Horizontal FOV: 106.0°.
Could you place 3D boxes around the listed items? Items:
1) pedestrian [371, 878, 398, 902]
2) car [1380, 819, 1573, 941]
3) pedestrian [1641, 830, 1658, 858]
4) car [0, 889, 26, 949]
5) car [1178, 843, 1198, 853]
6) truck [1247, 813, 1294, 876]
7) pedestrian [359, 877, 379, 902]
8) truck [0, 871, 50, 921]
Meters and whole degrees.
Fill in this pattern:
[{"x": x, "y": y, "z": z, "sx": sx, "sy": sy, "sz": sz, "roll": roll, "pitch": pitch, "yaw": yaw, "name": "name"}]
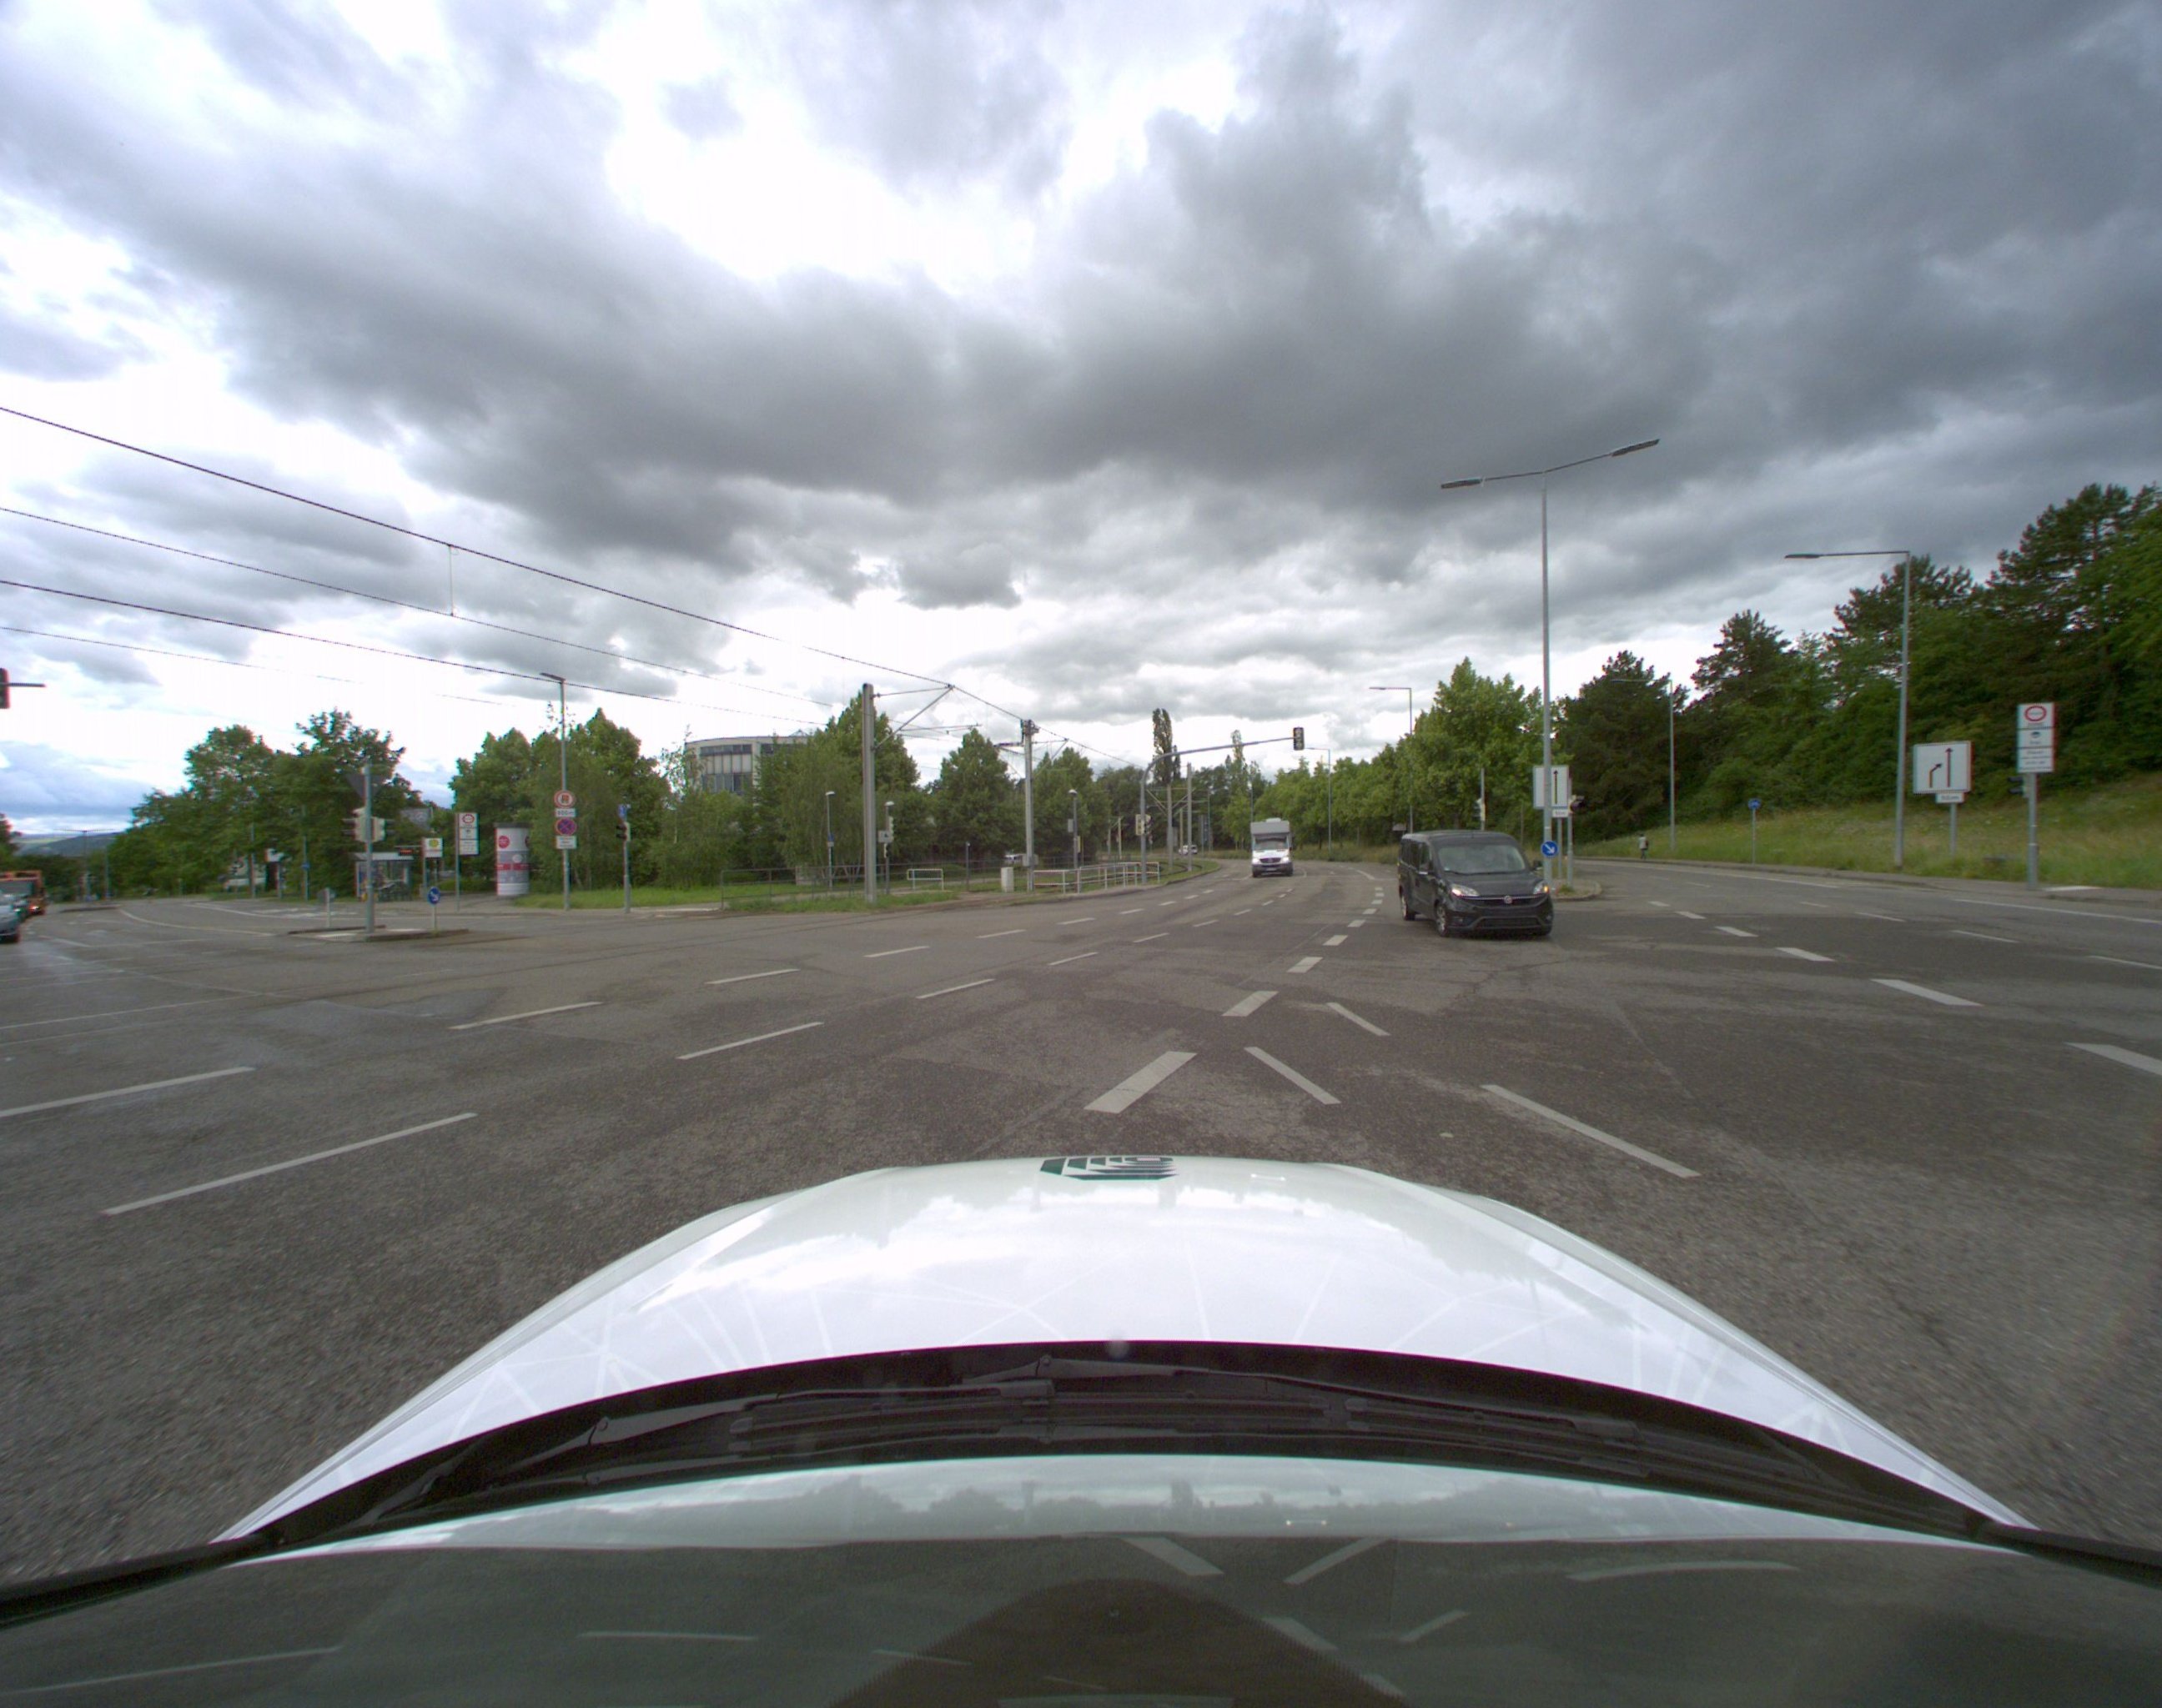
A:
[{"x": -38.489, "y": 1.994, "z": 45.029, "sx": 0.768, "sy": 1.252, "sz": 0.775, "roll": -2, "pitch": 0, "yaw": -3, "name": "pedestrian"}, {"x": 7.137, "y": 0.403, "z": 15.330, "sx": 1.981, "sy": 1.876, "sz": 4.905, "roll": -2, "pitch": 0, "yaw": 10, "name": "car"}, {"x": 35.812, "y": -0.622, "z": 51.326, "sx": 0.732, "sy": 1.717, "sz": 0.629, "roll": -2, "pitch": 0, "yaw": 26, "name": "pedestrian"}, {"x": -29.885, "y": 1.773, "z": 21.751, "sx": 4.165, "sy": 1.535, "sz": 1.845, "roll": -2, "pitch": 1, "yaw": 35, "name": "car"}, {"x": 20.239, "y": -1.098, "z": 153.689, "sx": 2.004, "sy": 1.728, "sz": 3.696, "roll": -2, "pitch": 0, "yaw": -25, "name": "car"}, {"x": 10.368, "y": -0.492, "z": 44.189, "sx": 2.089, "sy": 3.010, "sz": 6.298, "roll": -5, "pitch": -1, "yaw": 14, "name": "truck"}, {"x": -39.830, "y": 1.973, "z": 45.549, "sx": 0.581, "sy": 1.316, "sz": 0.735, "roll": -2, "pitch": 0, "yaw": 41, "name": "pedestrian"}, {"x": -80.162, "y": 3.128, "z": 61.379, "sx": 9.865, "sy": 3.487, "sz": 2.732, "roll": -2, "pitch": 1, "yaw": 39, "name": "truck"}]
